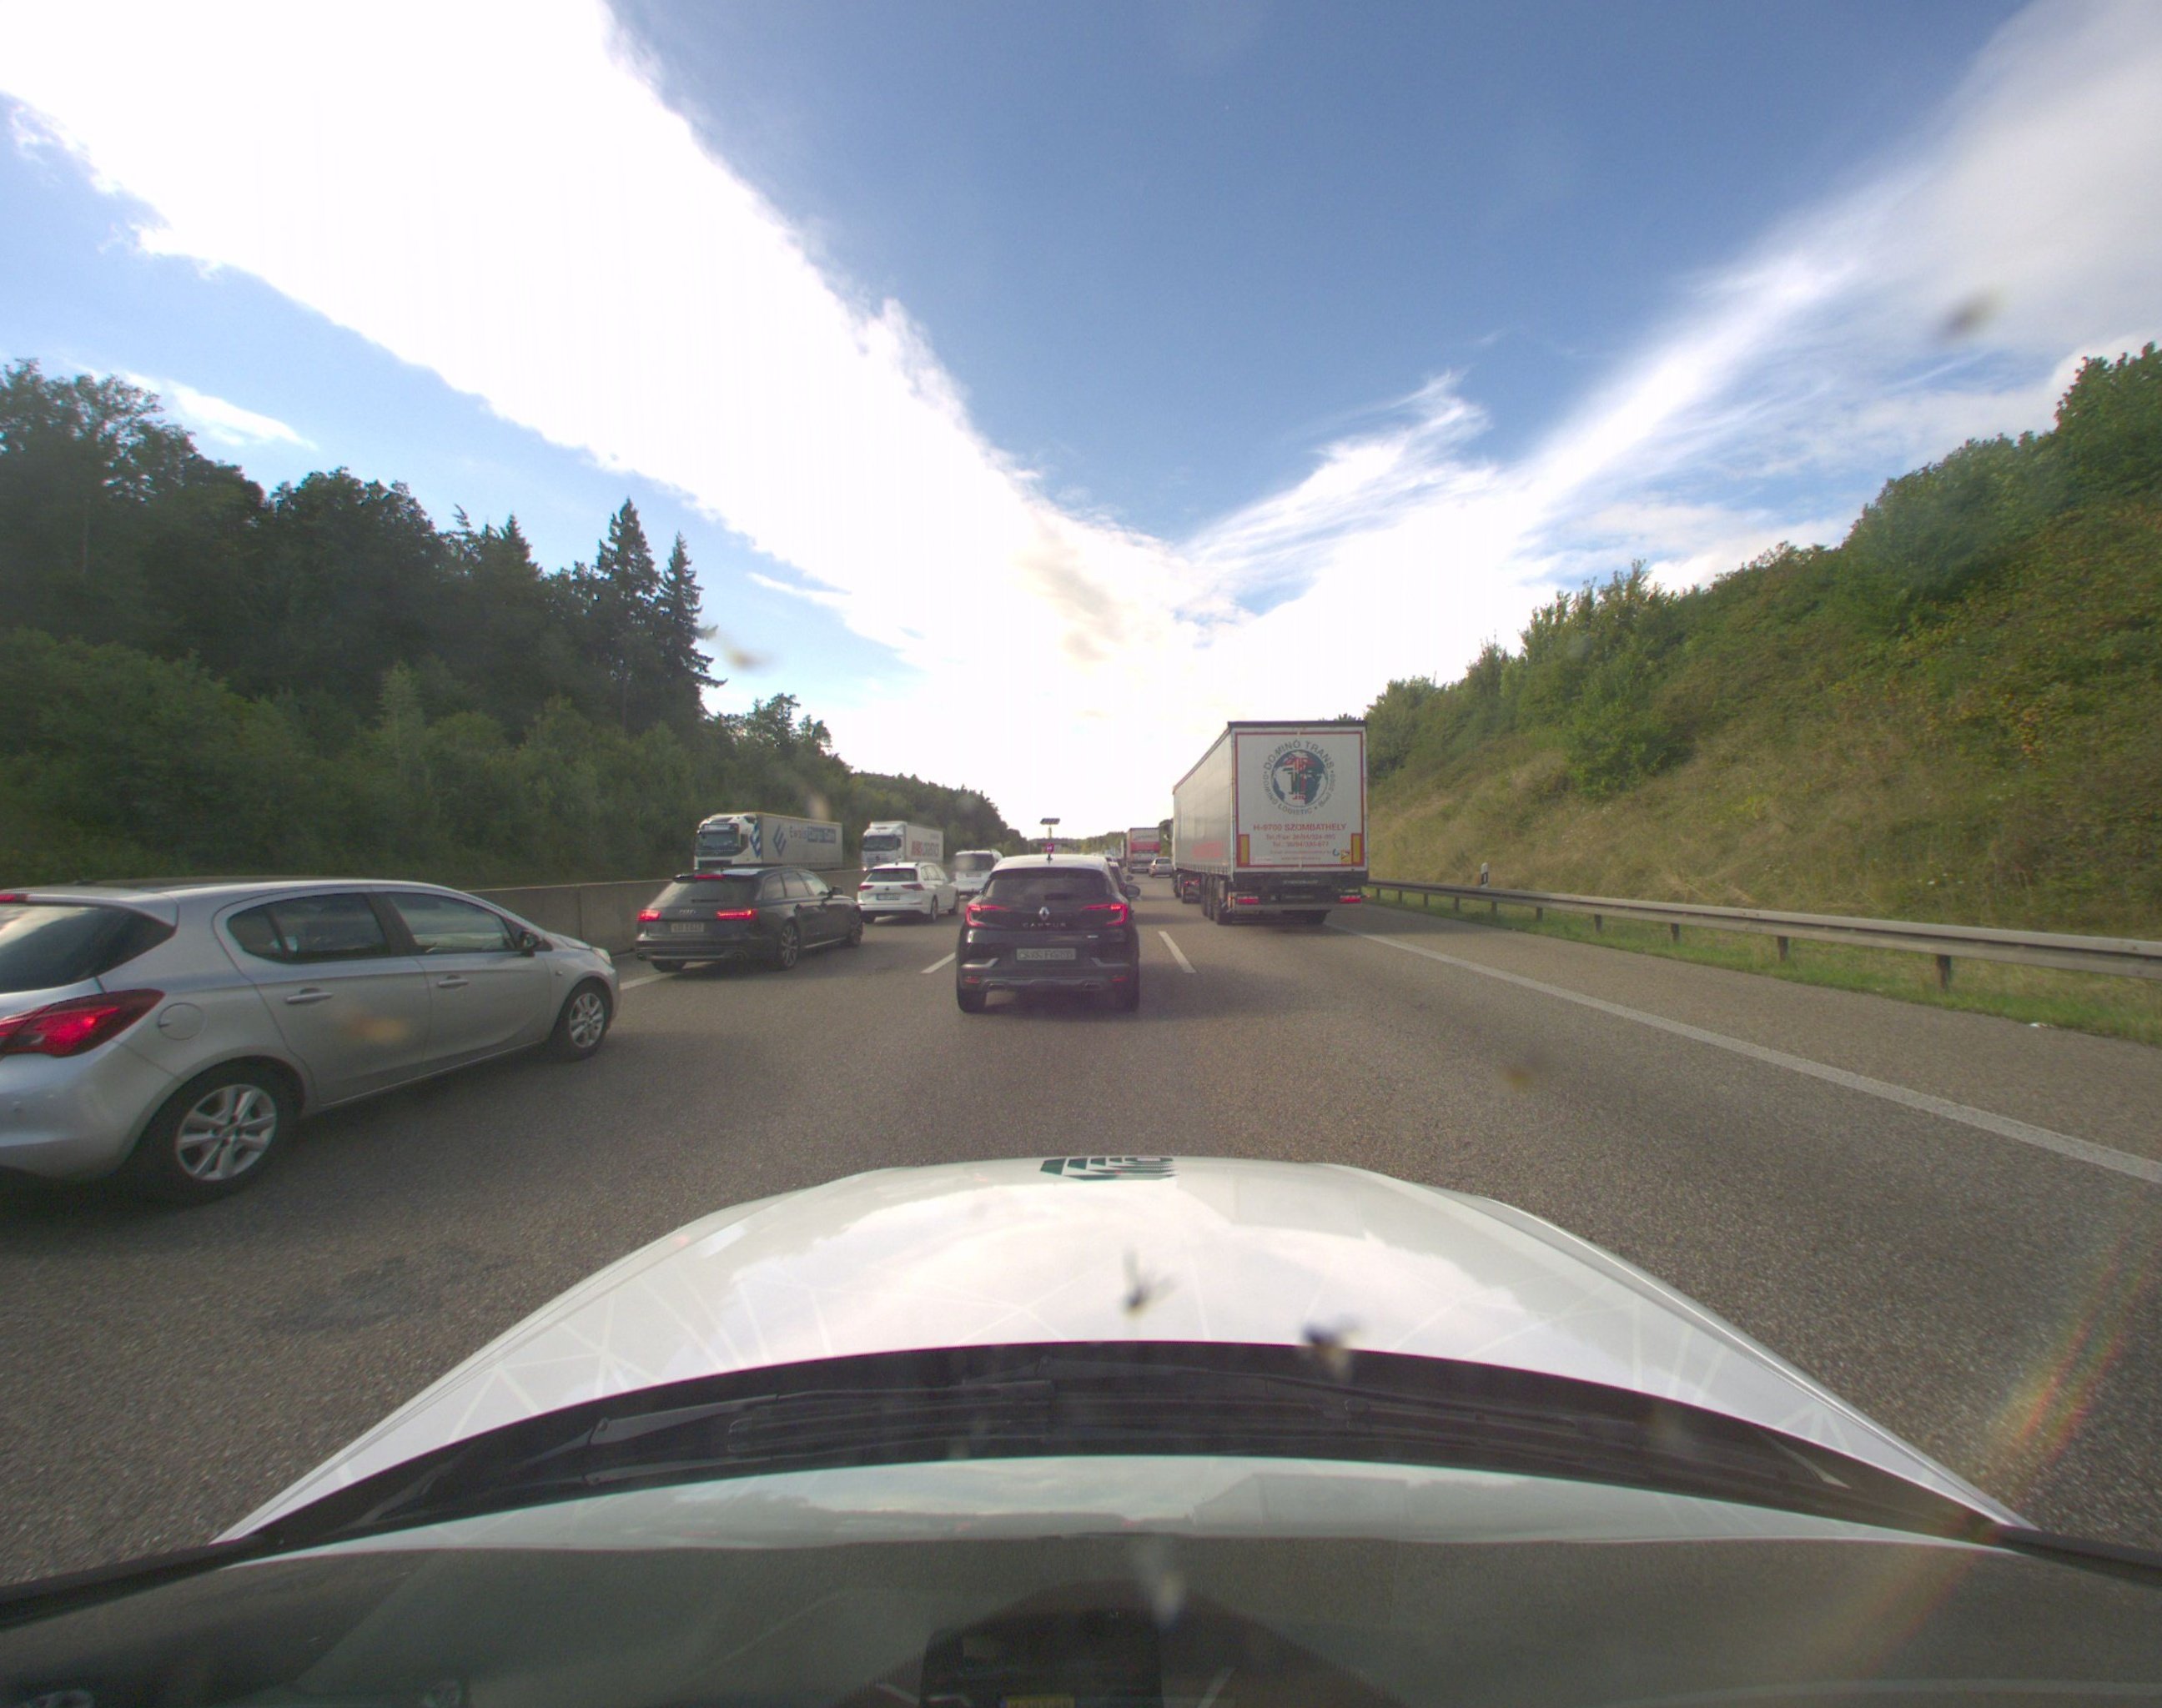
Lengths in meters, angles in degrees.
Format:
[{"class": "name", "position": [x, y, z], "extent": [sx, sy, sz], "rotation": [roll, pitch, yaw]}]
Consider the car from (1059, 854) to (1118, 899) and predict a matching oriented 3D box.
[{"class": "car", "position": [0.360, 0.793, 29.630], "extent": [1.985, 1.514, 4.002], "rotation": [0, -1, 3]}]

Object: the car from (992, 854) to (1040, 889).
[{"class": "car", "position": [-3.231, 0.860, 41.191], "extent": [1.848, 1.641, 3.928], "rotation": [0, -1, 3]}]

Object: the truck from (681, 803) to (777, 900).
[{"class": "truck", "position": [-18.714, -0.094, 43.607], "extent": [2.921, 4.859, 4.767], "rotation": [0, -1, 2]}]

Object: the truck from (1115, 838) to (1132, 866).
[{"class": "truck", "position": [8.692, -0.258, 165.938], "extent": [3.152, 5.505, 12.751], "rotation": [0, -1, 4]}]

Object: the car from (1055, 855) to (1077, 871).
[{"class": "car", "position": [-1.548, 0.972, 85.238], "extent": [1.985, 1.613, 4.003], "rotation": [-1, 0, 3]}]

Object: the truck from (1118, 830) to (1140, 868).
[{"class": "truck", "position": [7.434, -0.666, 126.152], "extent": [3.153, 5.505, 12.746], "rotation": [0, -1, 3]}]

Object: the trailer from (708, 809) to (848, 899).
[{"class": "trailer", "position": [-18.457, 0.094, 51.351], "extent": [2.916, 4.830, 14.659], "rotation": [0, -1, 2]}]

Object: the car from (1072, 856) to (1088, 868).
[{"class": "car", "position": [-0.147, 1.149, 116.560], "extent": [1.985, 1.613, 4.003], "rotation": [-1, 0, 3]}]

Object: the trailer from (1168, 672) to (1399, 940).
[{"class": "trailer", "position": [4.243, -0.823, 20.875], "extent": [2.991, 4.661, 13.295], "rotation": [-1, 0, 2]}]

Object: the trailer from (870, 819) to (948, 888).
[{"class": "trailer", "position": [-13.756, 0.058, 66.766], "extent": [3.077, 5.074, 13.838], "rotation": [0, -1, 1]}]

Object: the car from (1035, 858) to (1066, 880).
[{"class": "car", "position": [-2.314, 1.105, 62.241], "extent": [1.985, 1.613, 4.002], "rotation": [0, -1, 3]}]

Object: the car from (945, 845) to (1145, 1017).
[{"class": "car", "position": [-0.180, 0.717, 9.417], "extent": [1.796, 1.552, 4.005], "rotation": [-1, 0, 4]}]

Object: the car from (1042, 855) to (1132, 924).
[{"class": "car", "position": [0.227, 0.815, 20.030], "extent": [1.985, 1.514, 4.002], "rotation": [0, -1, 3]}]

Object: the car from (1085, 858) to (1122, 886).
[{"class": "car", "position": [1.326, 0.988, 46.458], "extent": [1.985, 1.514, 4.002], "rotation": [0, -1, 3]}]

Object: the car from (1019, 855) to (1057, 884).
[{"class": "car", "position": [-2.665, 0.974, 51.093], "extent": [1.985, 1.722, 4.002], "rotation": [0, -1, 3]}]

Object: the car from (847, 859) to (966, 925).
[{"class": "car", "position": [-4.220, 0.873, 20.400], "extent": [1.797, 1.461, 4.312], "rotation": [-1, -1, 3]}]

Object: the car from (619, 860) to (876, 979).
[{"class": "car", "position": [-4.784, 0.848, 12.592], "extent": [1.835, 1.456, 4.751], "rotation": [0, 0, 2]}]

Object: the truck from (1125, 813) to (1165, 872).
[{"class": "truck", "position": [5.833, -0.896, 75.958], "extent": [3.351, 5.044, 12.746], "rotation": [0, -1, 3]}]

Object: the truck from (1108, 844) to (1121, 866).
[{"class": "truck", "position": [8.321, 0.333, 199.788], "extent": [3.153, 5.159, 12.746], "rotation": [0, -1, 3]}]

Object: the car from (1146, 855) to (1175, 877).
[{"class": "car", "position": [5.686, 0.876, 58.915], "extent": [1.798, 1.533, 3.926], "rotation": [0, -1, 1]}]

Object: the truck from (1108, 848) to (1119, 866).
[{"class": "truck", "position": [10.365, 1.011, 257.828], "extent": [3.153, 5.505, 12.746], "rotation": [0, -1, 3]}]

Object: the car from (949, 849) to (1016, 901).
[{"class": "car", "position": [-3.654, 0.767, 30.962], "extent": [1.905, 1.789, 4.418], "rotation": [0, -1, 1]}]

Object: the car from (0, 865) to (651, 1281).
[{"class": "car", "position": [-4.675, 0.848, 5.025], "extent": [1.740, 1.465, 4.043], "rotation": [-1, 0, 2]}]

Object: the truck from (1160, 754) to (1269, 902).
[{"class": "truck", "position": [4.513, -0.815, 28.723], "extent": [2.986, 4.667, 5.941], "rotation": [-1, 0, 2]}]

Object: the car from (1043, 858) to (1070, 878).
[{"class": "car", "position": [-2.055, 1.193, 69.775], "extent": [1.985, 1.613, 4.002], "rotation": [0, -1, 3]}]

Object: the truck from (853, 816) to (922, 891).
[{"class": "truck", "position": [-13.958, -0.002, 59.352], "extent": [3.076, 5.101, 7.144], "rotation": [0, -1, 2]}]
